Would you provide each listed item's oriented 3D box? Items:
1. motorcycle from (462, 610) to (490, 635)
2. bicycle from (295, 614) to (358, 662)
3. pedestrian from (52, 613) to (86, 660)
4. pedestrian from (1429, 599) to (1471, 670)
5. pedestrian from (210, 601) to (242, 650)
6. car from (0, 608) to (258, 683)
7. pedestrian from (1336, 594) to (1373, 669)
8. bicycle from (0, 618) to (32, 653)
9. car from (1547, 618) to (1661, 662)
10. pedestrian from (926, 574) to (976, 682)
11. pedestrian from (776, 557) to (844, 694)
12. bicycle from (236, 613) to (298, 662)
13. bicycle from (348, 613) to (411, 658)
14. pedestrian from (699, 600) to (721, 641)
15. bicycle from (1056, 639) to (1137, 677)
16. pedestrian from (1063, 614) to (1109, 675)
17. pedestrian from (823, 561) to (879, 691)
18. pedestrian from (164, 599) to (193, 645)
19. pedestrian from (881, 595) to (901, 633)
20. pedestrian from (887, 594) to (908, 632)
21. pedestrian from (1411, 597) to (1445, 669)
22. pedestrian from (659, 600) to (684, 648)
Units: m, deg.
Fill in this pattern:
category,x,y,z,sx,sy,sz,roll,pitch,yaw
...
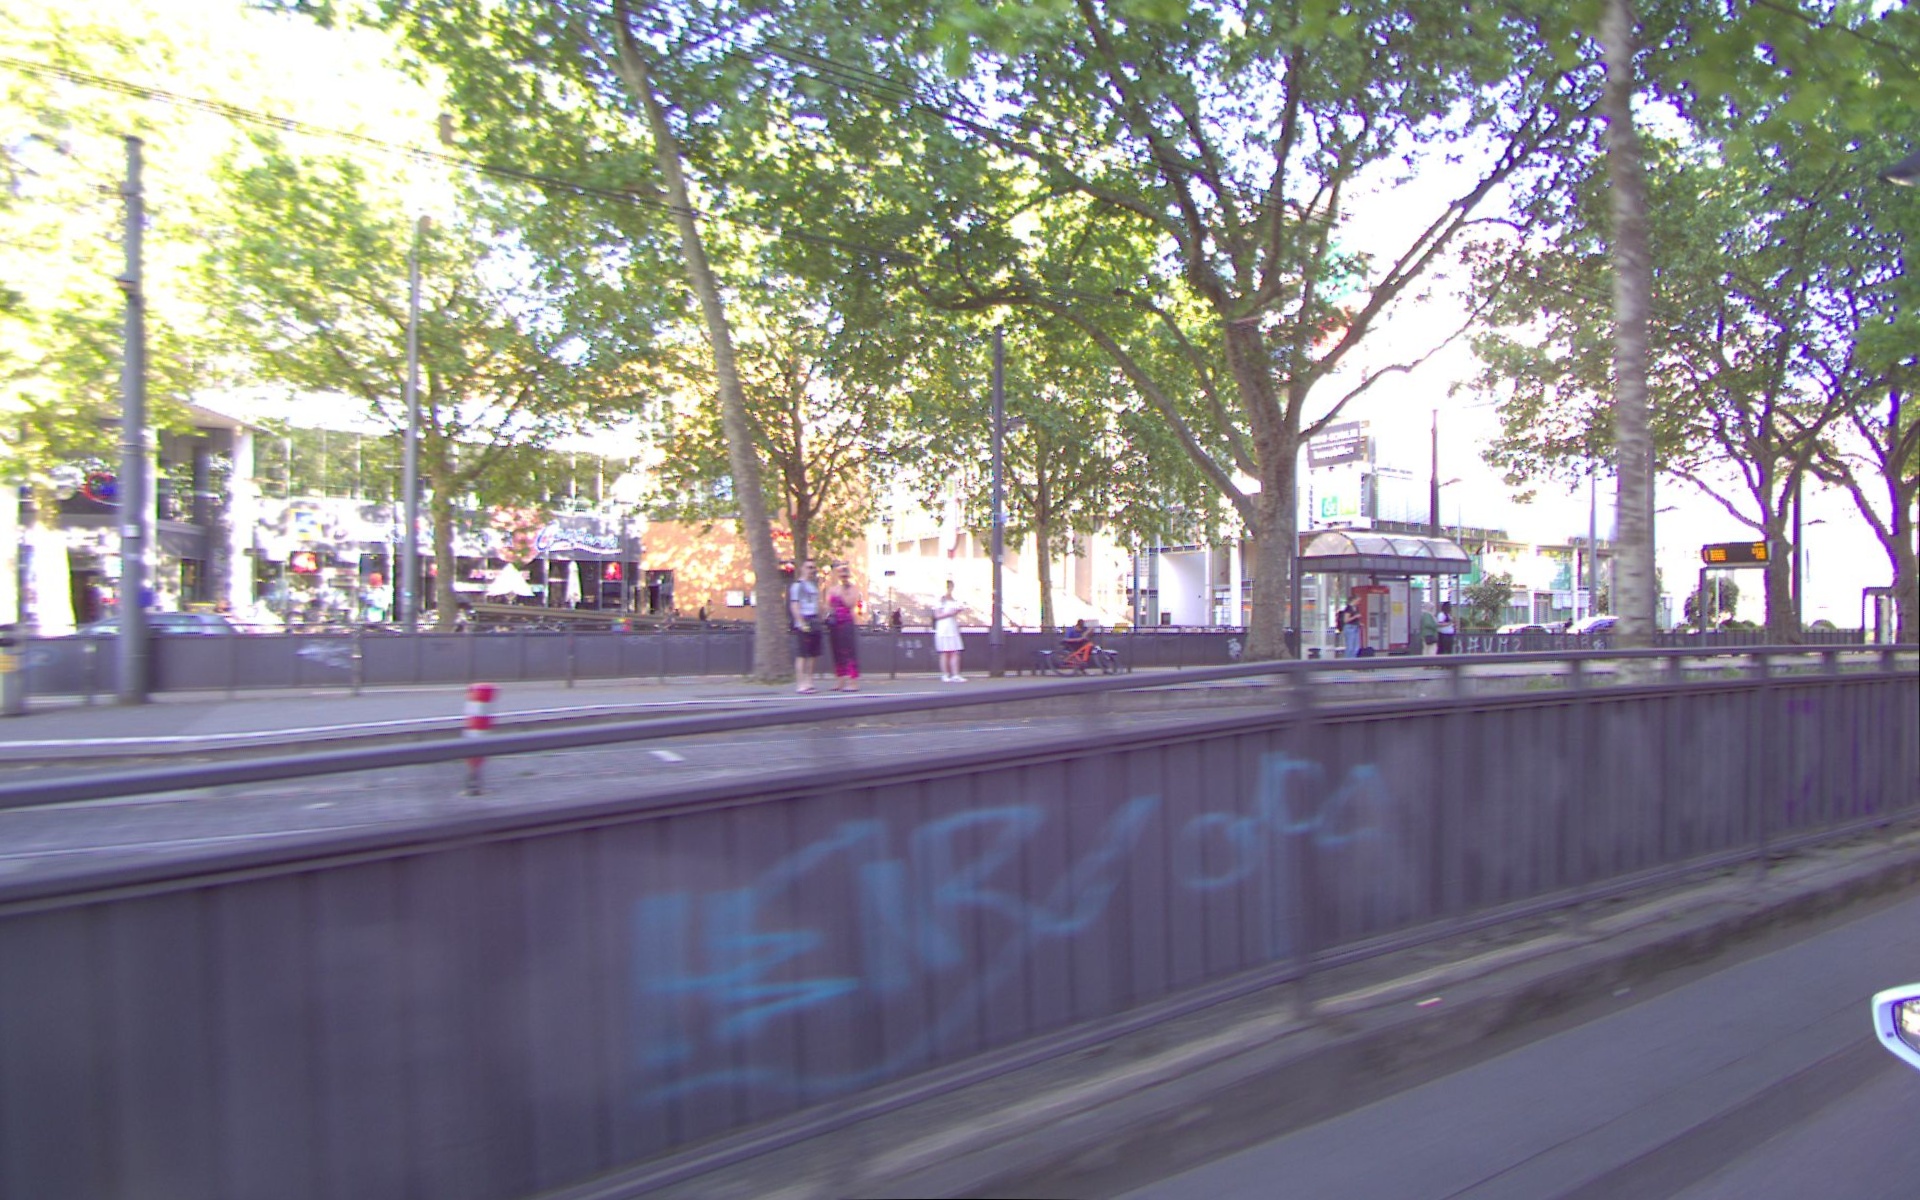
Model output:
category,x,y,z,sx,sy,sz,roll,pitch,yaw
motorcycle,-21.274,0.994,44.182,0.819,1.072,2.333,1,-1,-18
bicycle,-19.271,1.132,30.511,1.028,1.371,3.320,1,-1,-43
pedestrian,-31.816,1.290,35.876,0.689,1.674,0.702,1,0,-23
pedestrian,11.206,0.782,22.978,0.629,1.594,0.563,-1,0,-18
pedestrian,-25.719,0.883,35.203,0.694,1.674,0.696,0,0,34
car,-17.154,0.936,20.914,3.951,1.425,1.659,2,-1,-28
pedestrian,8.485,0.683,21.630,0.658,1.594,0.486,-1,0,13
bicycle,-31.758,1.124,32.312,2.646,1.118,0.893,1,-2,-15
car,22.518,1.398,35.086,3.950,1.425,1.659,2,-1,-28
pedestrian,-0.155,0.474,17.317,0.732,1.824,0.591,0,0,-15
pedestrian,-2.101,0.345,14.047,0.737,1.853,0.630,1,0,-35
bicycle,-20.372,1.071,29.480,1.028,1.371,3.320,1,-1,-43
bicycle,-18.433,1.097,31.867,1.028,1.371,3.320,1,-1,-43
pedestrian,-10.425,0.849,41.888,0.697,1.674,0.693,1,0,-30
bicycle,2.679,1.126,19.625,1.676,0.698,0.391,1,-1,-31
pedestrian,2.468,0.862,19.774,0.732,1.179,0.591,0,0,-15
pedestrian,-1.579,0.375,14.634,0.730,1.853,0.592,0,0,1
pedestrian,-30.733,0.862,39.513,0.694,1.791,0.696,0,0,-17
pedestrian,-3.113,0.632,45.228,0.697,1.674,0.693,1,0,-30
pedestrian,-2.754,0.567,44.491,0.697,1.674,0.693,1,0,-30
pedestrian,10.602,0.742,22.769,0.487,1.594,0.499,-1,0,-26
pedestrian,-10.211,0.842,35.573,0.697,1.674,0.693,1,0,-30
